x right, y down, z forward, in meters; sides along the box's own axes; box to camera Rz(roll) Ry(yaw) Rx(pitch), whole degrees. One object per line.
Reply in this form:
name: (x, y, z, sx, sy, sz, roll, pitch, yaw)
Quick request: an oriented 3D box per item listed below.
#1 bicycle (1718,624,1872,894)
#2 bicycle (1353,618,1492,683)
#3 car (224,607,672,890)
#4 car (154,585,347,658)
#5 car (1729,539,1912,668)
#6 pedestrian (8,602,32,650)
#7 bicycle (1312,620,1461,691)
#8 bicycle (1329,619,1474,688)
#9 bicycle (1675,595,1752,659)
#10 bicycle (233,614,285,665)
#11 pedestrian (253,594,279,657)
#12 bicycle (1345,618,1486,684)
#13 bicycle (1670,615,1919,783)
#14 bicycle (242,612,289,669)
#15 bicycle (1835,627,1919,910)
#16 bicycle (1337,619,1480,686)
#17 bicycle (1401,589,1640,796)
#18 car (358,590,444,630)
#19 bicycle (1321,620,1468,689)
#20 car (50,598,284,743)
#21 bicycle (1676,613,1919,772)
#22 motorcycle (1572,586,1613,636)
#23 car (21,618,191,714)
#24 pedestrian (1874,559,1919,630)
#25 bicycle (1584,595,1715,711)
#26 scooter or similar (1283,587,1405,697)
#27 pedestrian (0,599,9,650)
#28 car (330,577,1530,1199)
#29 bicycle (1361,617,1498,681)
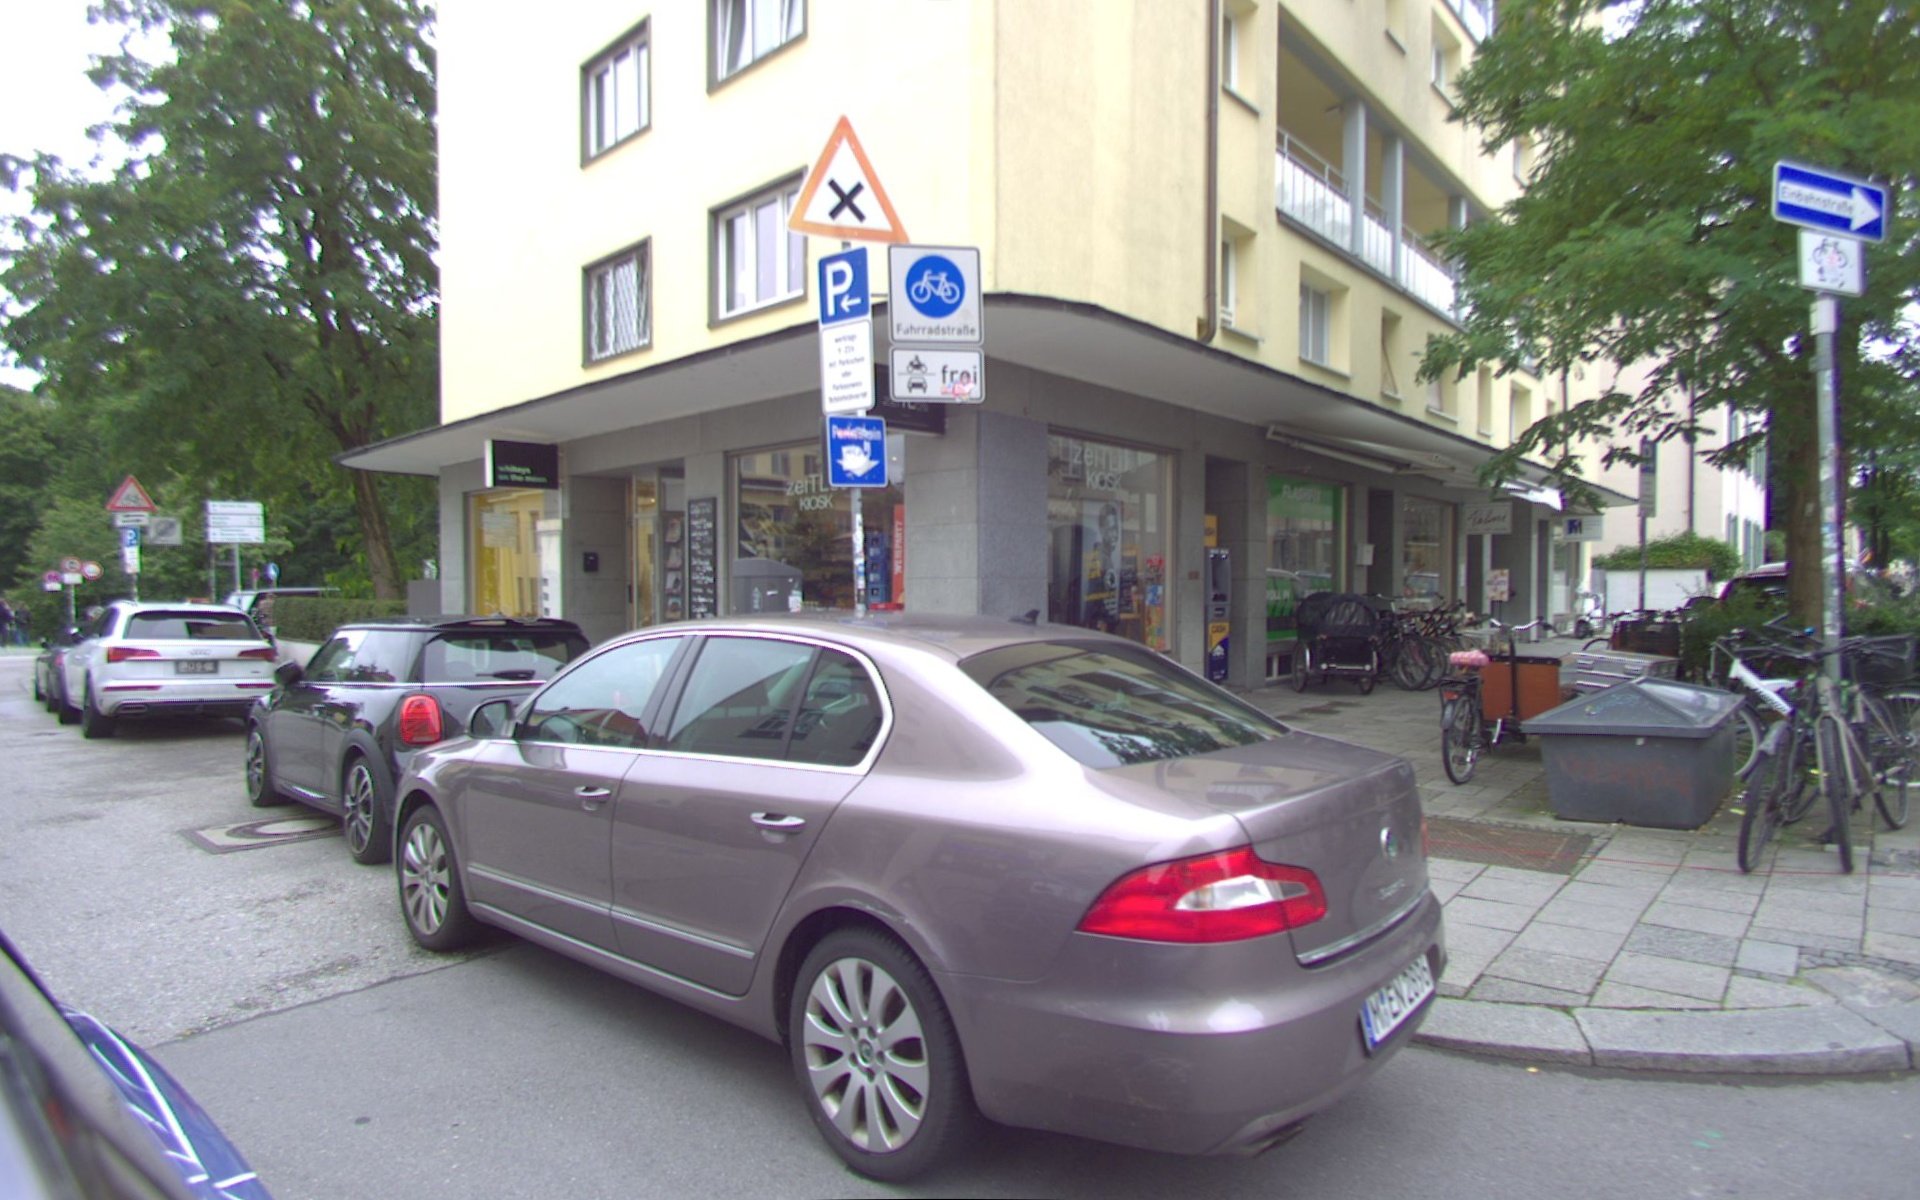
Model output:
bicycle: (4.236, 0.698, 5.089, 1.797, 1.042, 0.392, -4, 1, -44)
bicycle: (6.329, 0.669, 13.923, 1.722, 0.786, 0.289, 2, 1, 41)
car: (-3.895, 0.796, 7.340, 4.098, 1.482, 1.660, -1, -1, 44)
car: (-21.238, 0.562, 30.489, 1.927, 2.016, 4.378, 1, 1, 28)
car: (14.476, 0.067, 16.929, 1.908, 1.859, 4.397, -4, -2, 45)
pedestrian: (-35.696, 1.000, 38.430, 0.801, 1.795, 0.626, -3, -3, 43)
bicycle: (5.357, 0.681, 12.793, 1.722, 0.786, 0.289, 2, 1, 41)
bicycle: (5.746, 0.676, 13.246, 1.722, 0.786, 0.289, 2, 1, 41)
bicycle: (14.467, 0.483, 19.406, 2.339, 1.110, 0.818, -1, 2, -45)
bicycle: (-17.382, 0.955, 25.134, 0.573, 1.134, 2.305, -2, 1, -23)
pedestrian: (-20.333, 0.742, 29.647, 0.551, 1.812, 0.642, -1, -1, -29)
bicycle: (6.136, 0.672, 13.703, 1.722, 0.786, 0.289, 2, 1, 41)
bicycle: (5.665, 0.614, 6.553, 1.715, 0.973, 0.376, 1, 3, 40)
bicycle: (-15.999, 0.910, 23.301, 0.555, 1.219, 1.855, -2, 1, -44)
bicycle: (4.518, 0.707, 4.798, 1.797, 1.042, 0.392, -4, 1, -44)
bicycle: (5.940, 0.674, 13.473, 1.722, 0.786, 0.289, 2, 1, 41)
bicycle: (4.334, 0.574, 7.679, 2.810, 1.220, 0.818, -3, 3, -44)
car: (-31.929, 0.528, 57.913, 3.901, 2.120, 1.911, -1, 1, -16)
bicycle: (5.553, 0.679, 13.013, 1.722, 0.786, 0.289, 2, 1, 41)
car: (-10.484, 0.841, 13.266, 4.338, 1.596, 1.783, -2, -2, 43)
bicycle: (5.977, 0.608, 6.932, 1.715, 0.973, 0.376, 1, 3, 40)
motorcycle: (15.143, 0.242, 24.226, 0.462, 1.092, 1.820, 1, 3, 44)
car: (-14.430, 1.015, 17.029, 4.098, 1.421, 1.726, -1, -1, 43)
pedestrian: (21.474, -0.130, 23.099, 0.676, 1.609, 0.571, 1, 1, 17)
bicycle: (8.149, 0.586, 11.914, 2.339, 1.221, 0.818, 1, 0, -45)
scooter or similar: (4.504, 0.465, 11.963, 0.986, 1.210, 1.203, 1, 1, 2)
pedestrian: (-36.186, 0.924, 37.960, 0.804, 1.918, 0.698, -3, -3, 43)
car: (-0.697, 0.722, 4.018, 4.947, 1.482, 1.662, 0, -1, 41)
bicycle: (6.529, 0.667, 14.145, 1.722, 0.786, 0.289, 2, 1, 41)
